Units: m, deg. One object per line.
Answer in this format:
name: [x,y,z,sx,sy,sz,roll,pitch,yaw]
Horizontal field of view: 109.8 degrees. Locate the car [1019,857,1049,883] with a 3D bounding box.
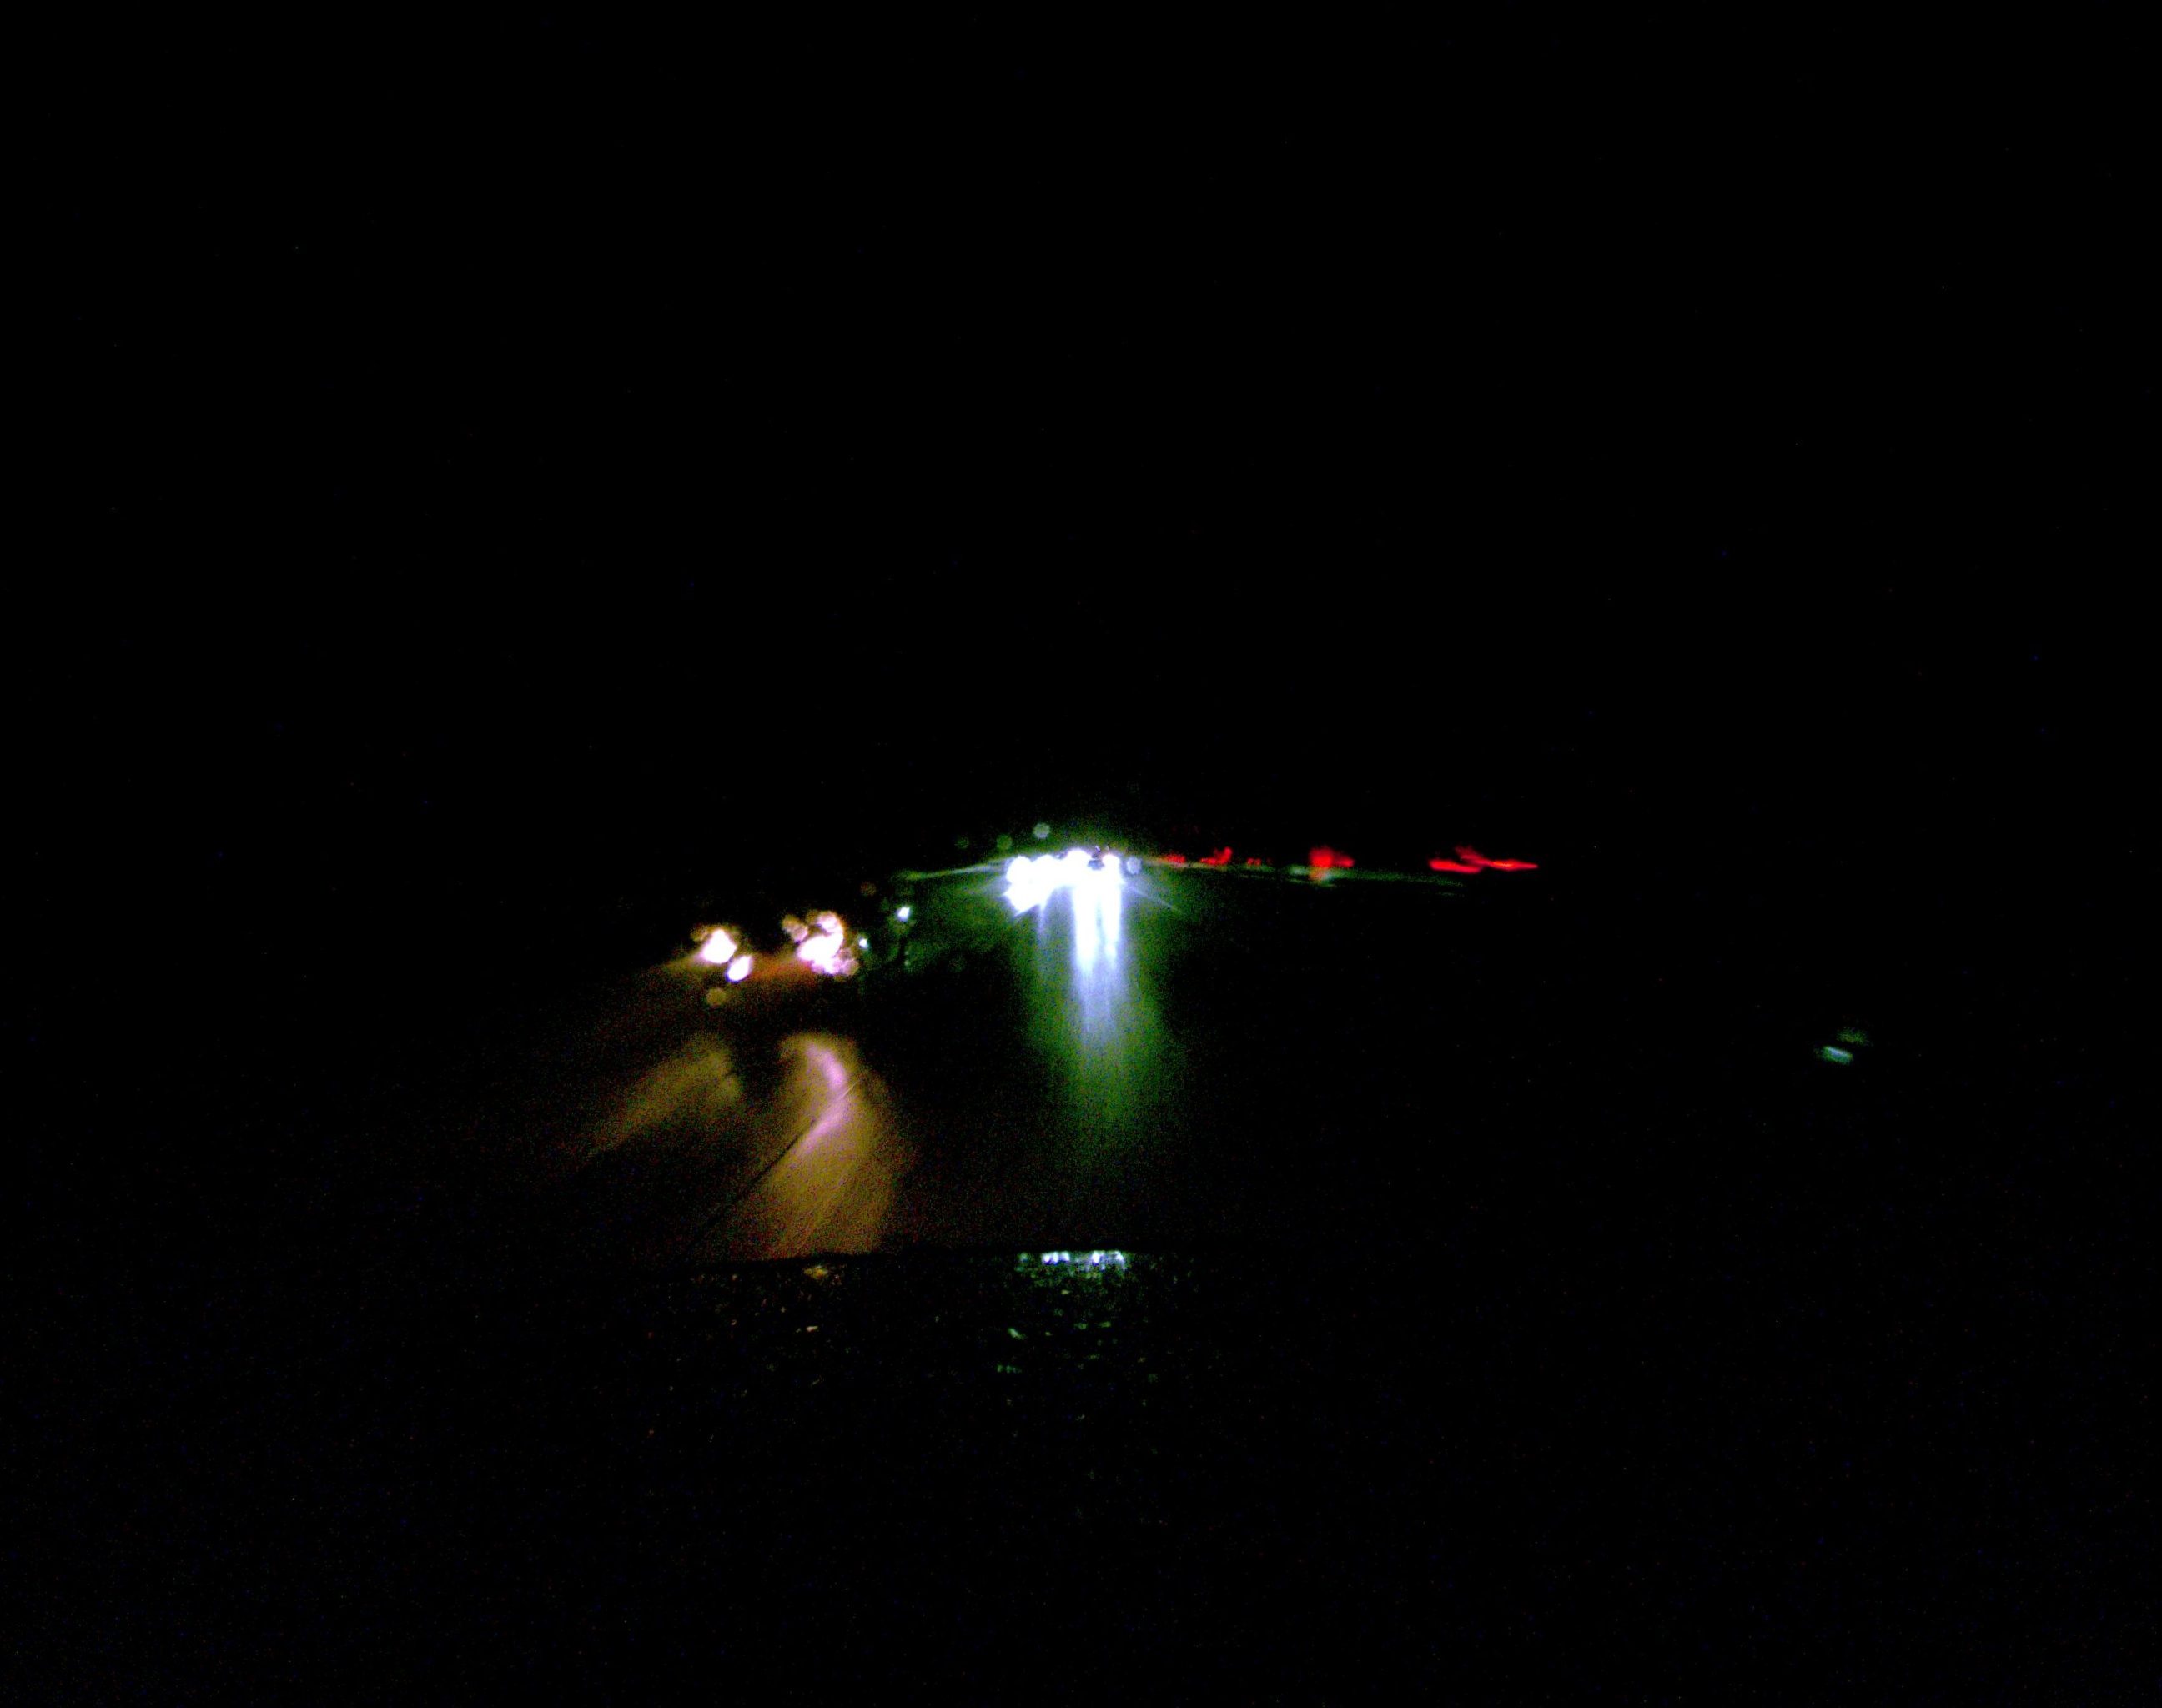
car: [-3.343,1.109,54.292,1.792,1.681,4.000,-2,1,1]

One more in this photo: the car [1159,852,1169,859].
car: [22.434,0.423,204.412,2.079,1.879,5.268,-2,1,1]

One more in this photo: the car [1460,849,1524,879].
car: [24.819,0.570,46.018,1.767,1.663,3.886,-2,1,1]

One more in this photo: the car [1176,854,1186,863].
car: [22.685,0.997,173.101,1.668,1.788,4.756,-2,1,1]

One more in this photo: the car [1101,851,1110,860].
car: [5.225,0.325,162.157,1.800,1.728,4.000,-2,1,1]

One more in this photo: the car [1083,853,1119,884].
car: [1.134,0.818,44.488,1.960,1.655,4.915,-2,0,0]

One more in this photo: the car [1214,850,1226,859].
car: [28.484,0.087,155.683,1.680,1.618,4.204,-2,1,1]

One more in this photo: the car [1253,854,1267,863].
car: [29.222,0.726,124.156,1.547,1.492,3.461,-2,1,0]

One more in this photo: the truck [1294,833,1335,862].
truck: [25.984,-0.741,84.908,2.457,2.982,6.701,-2,1,0]

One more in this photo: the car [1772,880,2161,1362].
car: [4.218,0.864,1.582,1.661,1.422,4.246,-2,0,0]

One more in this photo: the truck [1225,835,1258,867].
truck: [34.253,-0.656,163.165,3.231,6.375,17.301,-2,1,1]

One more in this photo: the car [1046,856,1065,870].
car: [-3.269,1.093,97.570,1.998,1.589,4.653,-2,1,2]

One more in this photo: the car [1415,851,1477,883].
car: [21.191,0.718,44.275,1.767,1.663,3.886,-2,1,1]

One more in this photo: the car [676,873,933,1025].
car: [-3.319,1.050,10.103,1.774,1.449,4.195,-2,0,1]

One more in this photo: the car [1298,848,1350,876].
car: [17.008,0.497,53.552,1.998,1.796,5.165,-2,1,1]

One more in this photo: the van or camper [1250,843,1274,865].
van or camper: [32.907,-0.048,138.658,2.520,3.679,7.679,-2,1,1]

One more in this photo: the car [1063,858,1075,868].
car: [-2.224,1.664,142.481,1.998,1.852,4.000,-2,1,1]

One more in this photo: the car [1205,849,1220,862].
car: [22.400,0.237,129.793,1.795,2.002,4.000,-2,1,0]

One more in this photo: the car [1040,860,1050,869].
car: [-6.744,1.890,142.563,1.755,1.563,4.000,-2,1,1]
